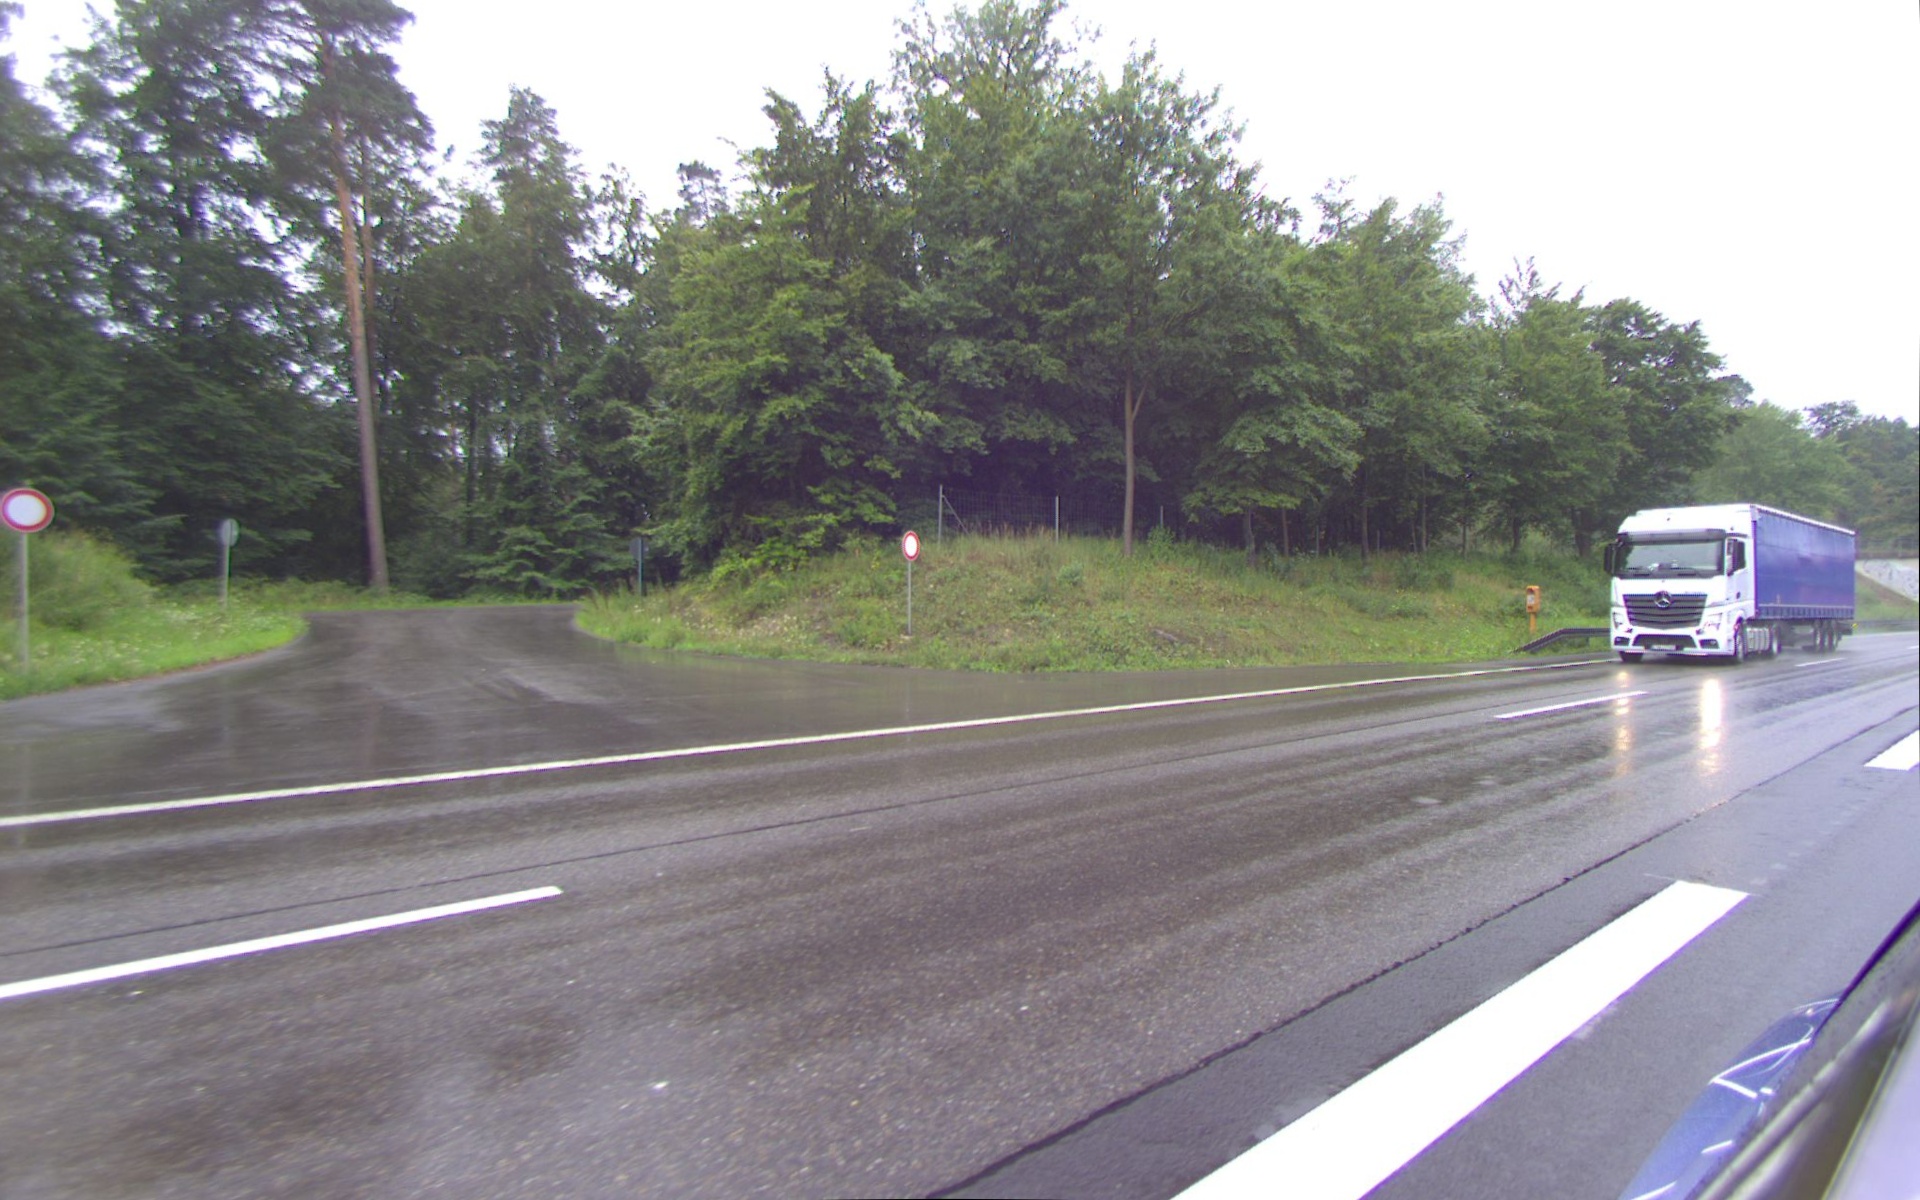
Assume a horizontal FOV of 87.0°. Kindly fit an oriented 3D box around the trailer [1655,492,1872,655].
[{"bbox_3d":[24.691,-0.686,30.638,13.471,4.064,2.558,0,0,-40],"label":"trailer"}]

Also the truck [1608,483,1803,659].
[{"bbox_3d":[19.482,-0.668,26.336,5.904,4.065,2.607,0,-1,-39],"label":"truck"}]
